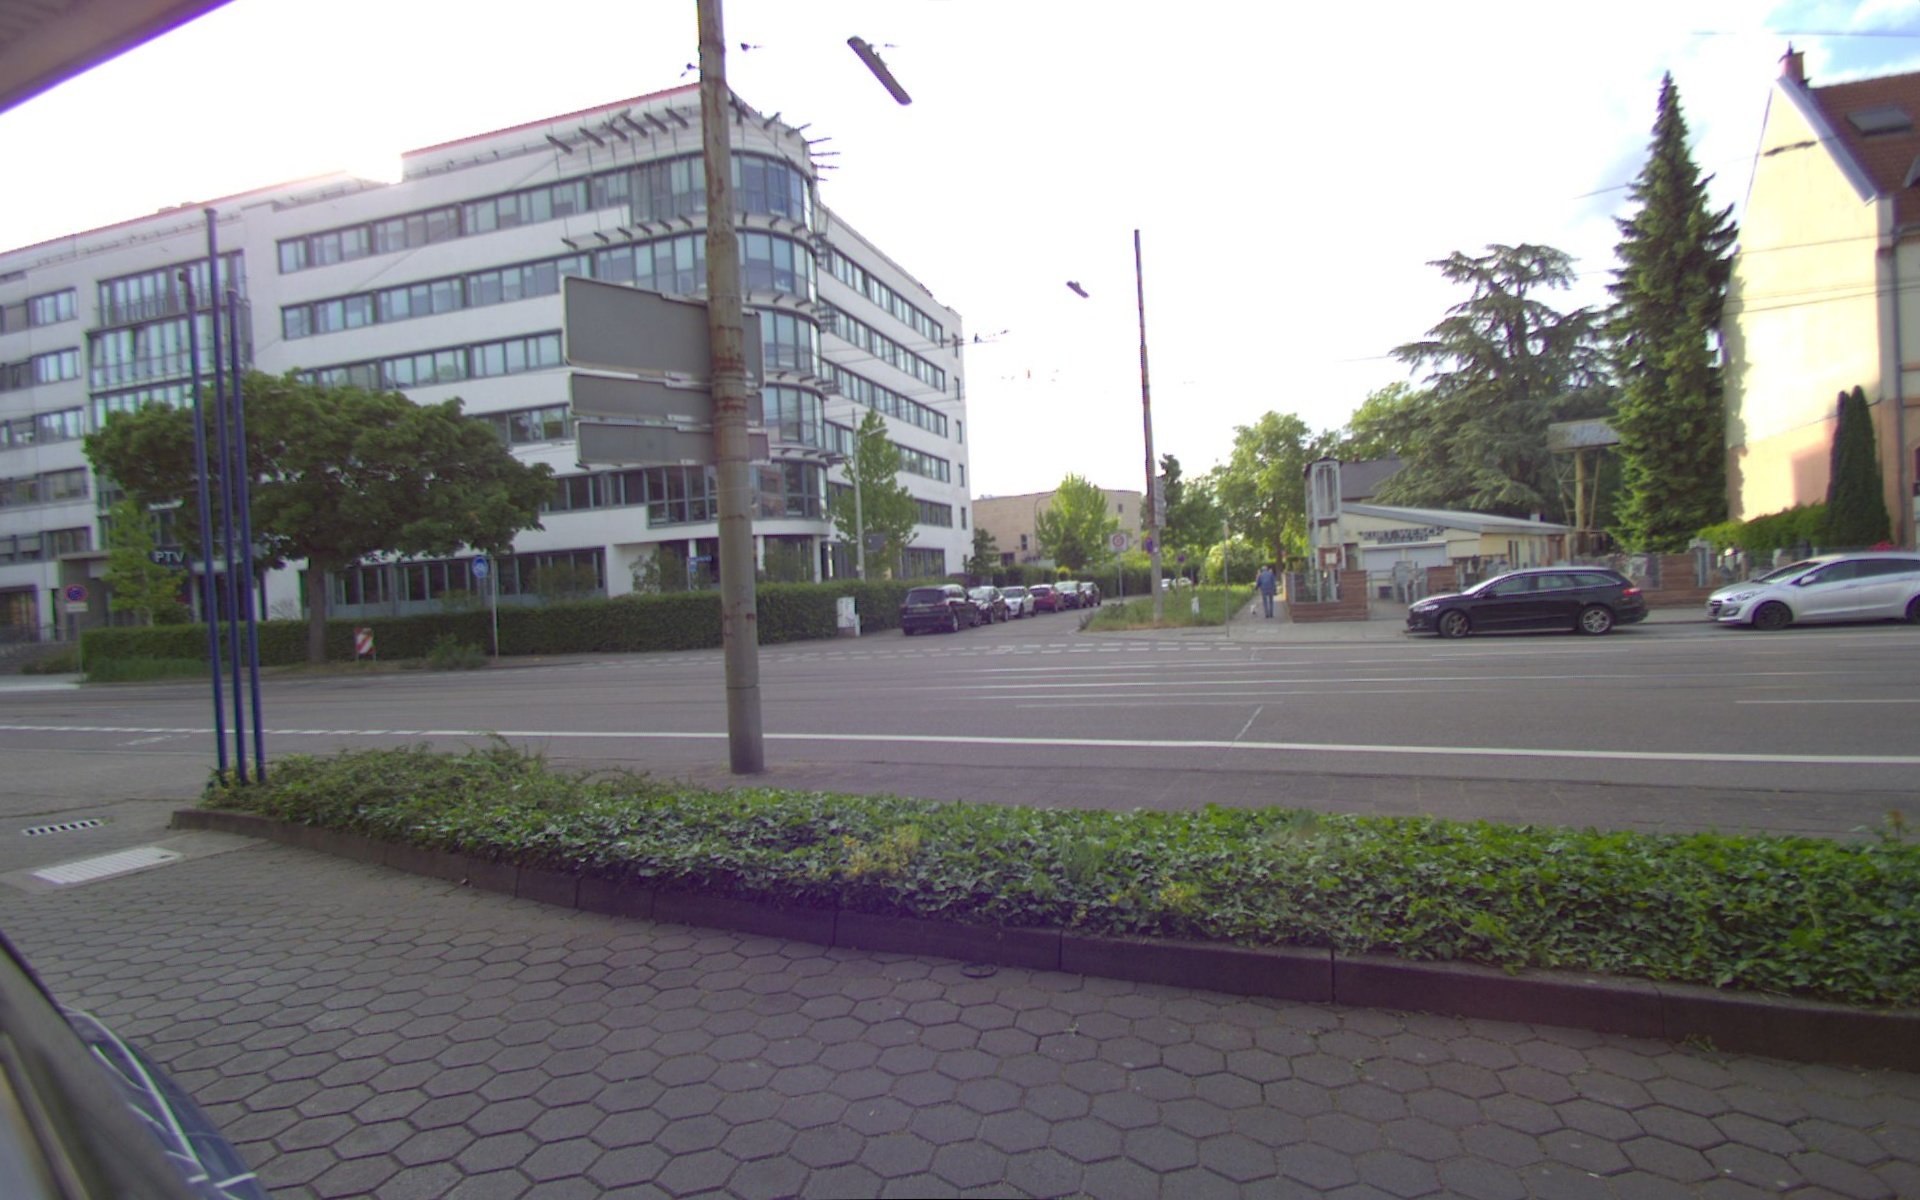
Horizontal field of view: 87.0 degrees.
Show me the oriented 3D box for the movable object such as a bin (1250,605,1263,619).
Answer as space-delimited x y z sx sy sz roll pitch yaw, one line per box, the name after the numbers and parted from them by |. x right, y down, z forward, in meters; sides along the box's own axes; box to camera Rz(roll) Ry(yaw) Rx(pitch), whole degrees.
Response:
10.060 0.407 34.366 0.363 0.397 0.660 -2 2 14 | movable object such as a bin

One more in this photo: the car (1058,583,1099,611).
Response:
7.381 -0.212 62.573 1.807 1.585 4.052 -4 0 16 | car

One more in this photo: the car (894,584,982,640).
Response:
-0.691 0.360 35.568 1.807 1.701 4.370 -4 1 16 | car

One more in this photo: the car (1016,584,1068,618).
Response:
4.295 0.024 52.410 1.807 1.589 4.175 -4 0 16 | car

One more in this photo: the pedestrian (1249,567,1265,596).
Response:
19.861 -1.198 67.580 0.965 1.896 1.056 -1 0 18 | pedestrian

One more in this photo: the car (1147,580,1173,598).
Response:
19.951 -1.135 100.910 1.811 1.654 4.044 -4 0 22 | car

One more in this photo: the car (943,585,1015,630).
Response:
0.827 0.272 40.984 1.807 1.589 4.175 -4 0 16 | car

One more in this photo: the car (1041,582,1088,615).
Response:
6.026 -0.135 57.807 1.807 1.704 4.392 -4 0 16 | car

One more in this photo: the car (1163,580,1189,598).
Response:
22.828 -1.156 106.857 1.813 1.654 4.040 -4 0 25 | car

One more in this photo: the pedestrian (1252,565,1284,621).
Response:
9.919 -0.226 32.639 0.902 1.712 0.920 -3 2 17 | pedestrian

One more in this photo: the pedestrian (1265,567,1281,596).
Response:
20.802 -1.210 67.278 0.965 1.896 1.056 -1 0 18 | pedestrian

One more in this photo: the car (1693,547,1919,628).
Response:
18.403 -0.269 21.400 4.349 1.493 1.732 -3 1 22 | car

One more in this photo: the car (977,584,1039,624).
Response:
2.220 0.154 45.688 1.807 1.589 4.175 -4 0 16 | car

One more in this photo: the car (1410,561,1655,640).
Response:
13.010 0.007 23.370 4.632 1.533 1.842 -3 2 22 | car
